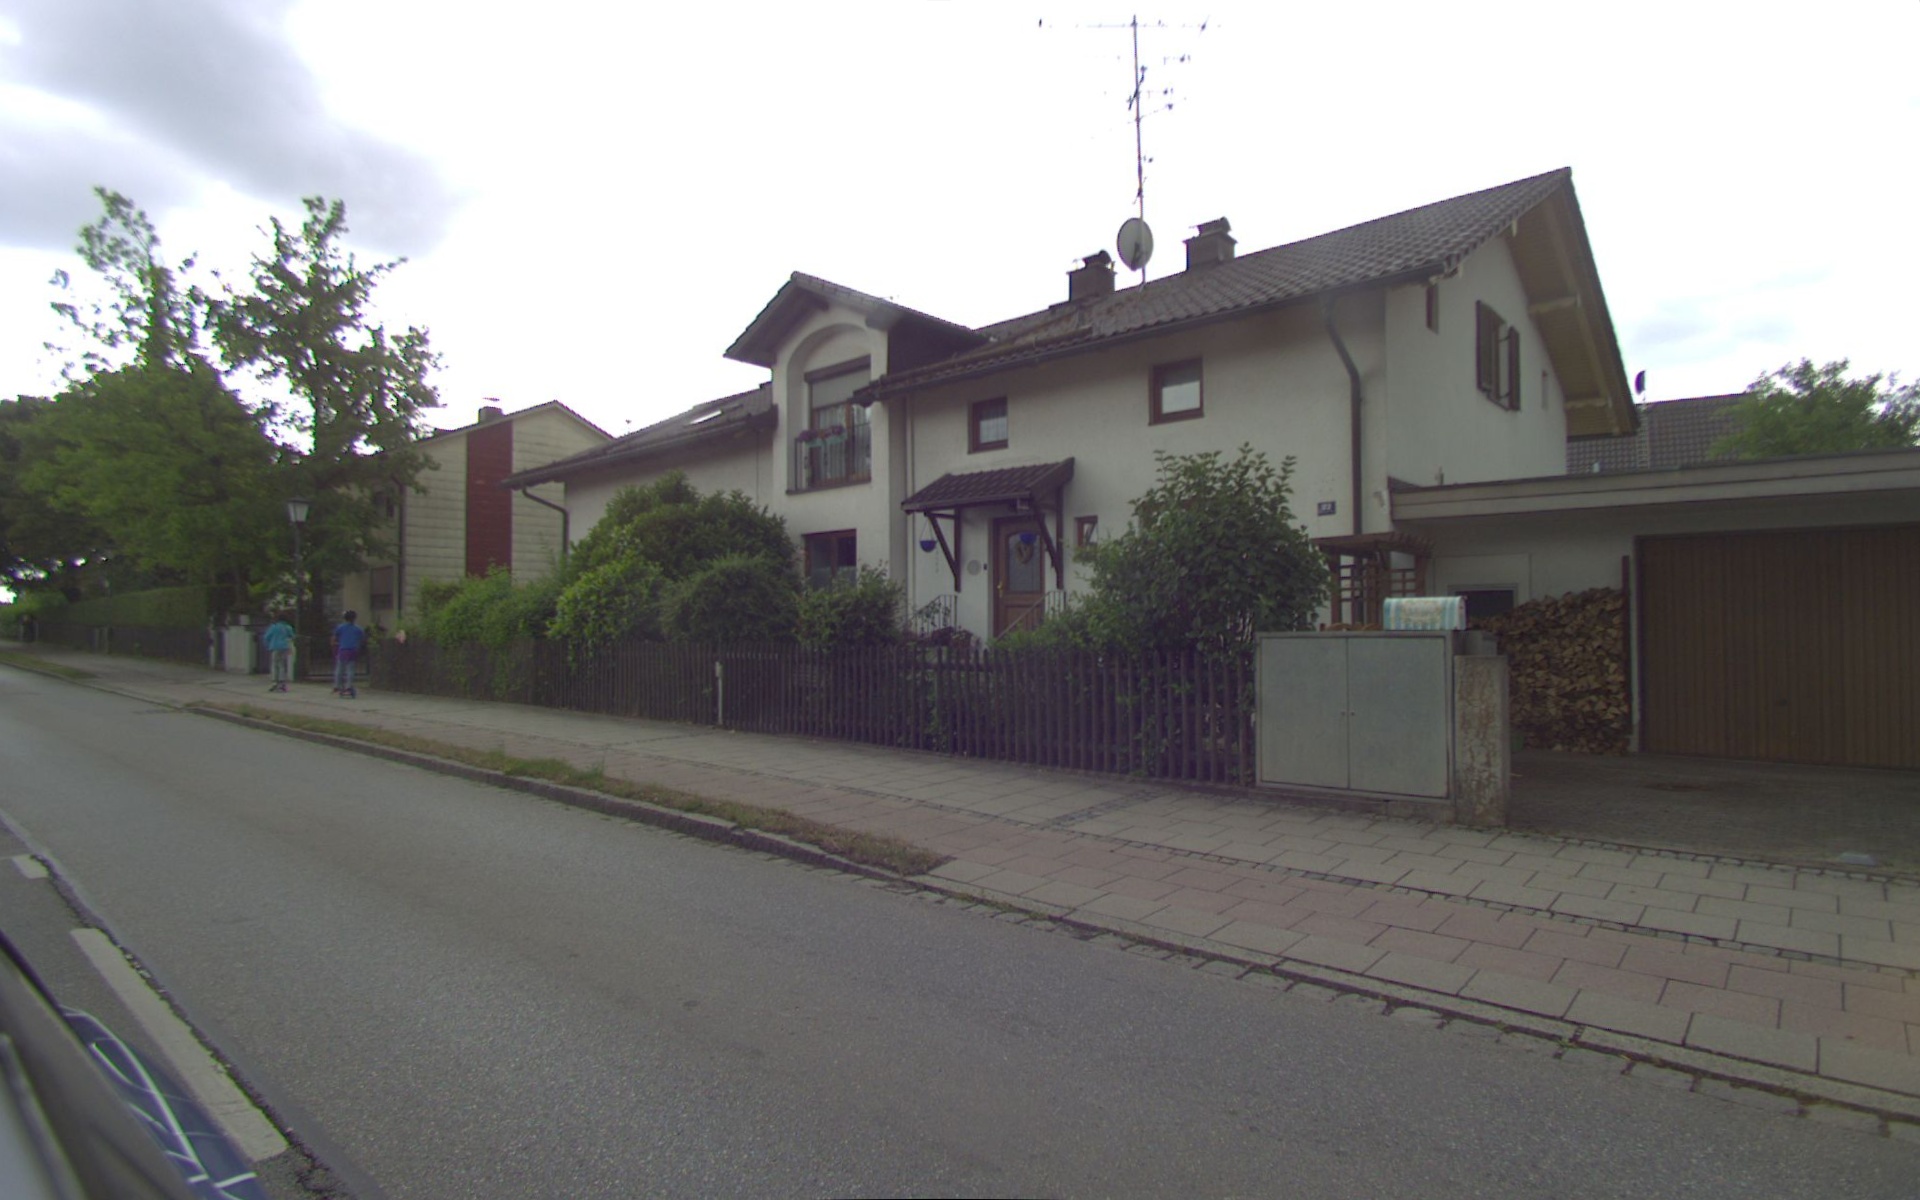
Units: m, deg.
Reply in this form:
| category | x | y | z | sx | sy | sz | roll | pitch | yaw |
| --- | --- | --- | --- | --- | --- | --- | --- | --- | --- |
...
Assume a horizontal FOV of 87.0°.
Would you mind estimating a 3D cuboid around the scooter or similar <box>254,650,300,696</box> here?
| category | x | y | z | sx | sy | sz | roll | pitch | yaw |
| --- | --- | --- | --- | --- | --- | --- | --- | --- | --- |
| scooter or similar | -13.644 | 1.448 | 20.203 | 1.061 | 0.856 | 0.516 | -1 | -1 | 42 |

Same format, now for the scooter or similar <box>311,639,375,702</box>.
| category | x | y | z | sx | sy | sz | roll | pitch | yaw |
| --- | --- | --- | --- | --- | --- | --- | --- | --- | --- |
| scooter or similar | -10.954 | 1.230 | 17.960 | 1.178 | 1.045 | 0.654 | -1 | -1 | 42 |

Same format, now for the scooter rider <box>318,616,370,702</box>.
| category | x | y | z | sx | sy | sz | roll | pitch | yaw |
| --- | --- | --- | --- | --- | --- | --- | --- | --- | --- |
| scooter rider | -10.892 | 1.026 | 17.902 | 0.580 | 1.484 | 0.655 | -2 | -2 | 41 |

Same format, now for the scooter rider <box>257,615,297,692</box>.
| category | x | y | z | sx | sy | sz | roll | pitch | yaw |
| --- | --- | --- | --- | --- | --- | --- | --- | --- | --- |
| scooter rider | -13.633 | 1.046 | 20.193 | 0.716 | 1.501 | 0.497 | -2 | -1 | 42 |

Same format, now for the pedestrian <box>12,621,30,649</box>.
| category | x | y | z | sx | sy | sz | roll | pitch | yaw |
| --- | --- | --- | --- | --- | --- | --- | --- | --- | --- |
| pedestrian | -49.895 | 1.868 | 53.763 | 0.563 | 1.448 | 0.623 | -2 | -1 | 41 |
